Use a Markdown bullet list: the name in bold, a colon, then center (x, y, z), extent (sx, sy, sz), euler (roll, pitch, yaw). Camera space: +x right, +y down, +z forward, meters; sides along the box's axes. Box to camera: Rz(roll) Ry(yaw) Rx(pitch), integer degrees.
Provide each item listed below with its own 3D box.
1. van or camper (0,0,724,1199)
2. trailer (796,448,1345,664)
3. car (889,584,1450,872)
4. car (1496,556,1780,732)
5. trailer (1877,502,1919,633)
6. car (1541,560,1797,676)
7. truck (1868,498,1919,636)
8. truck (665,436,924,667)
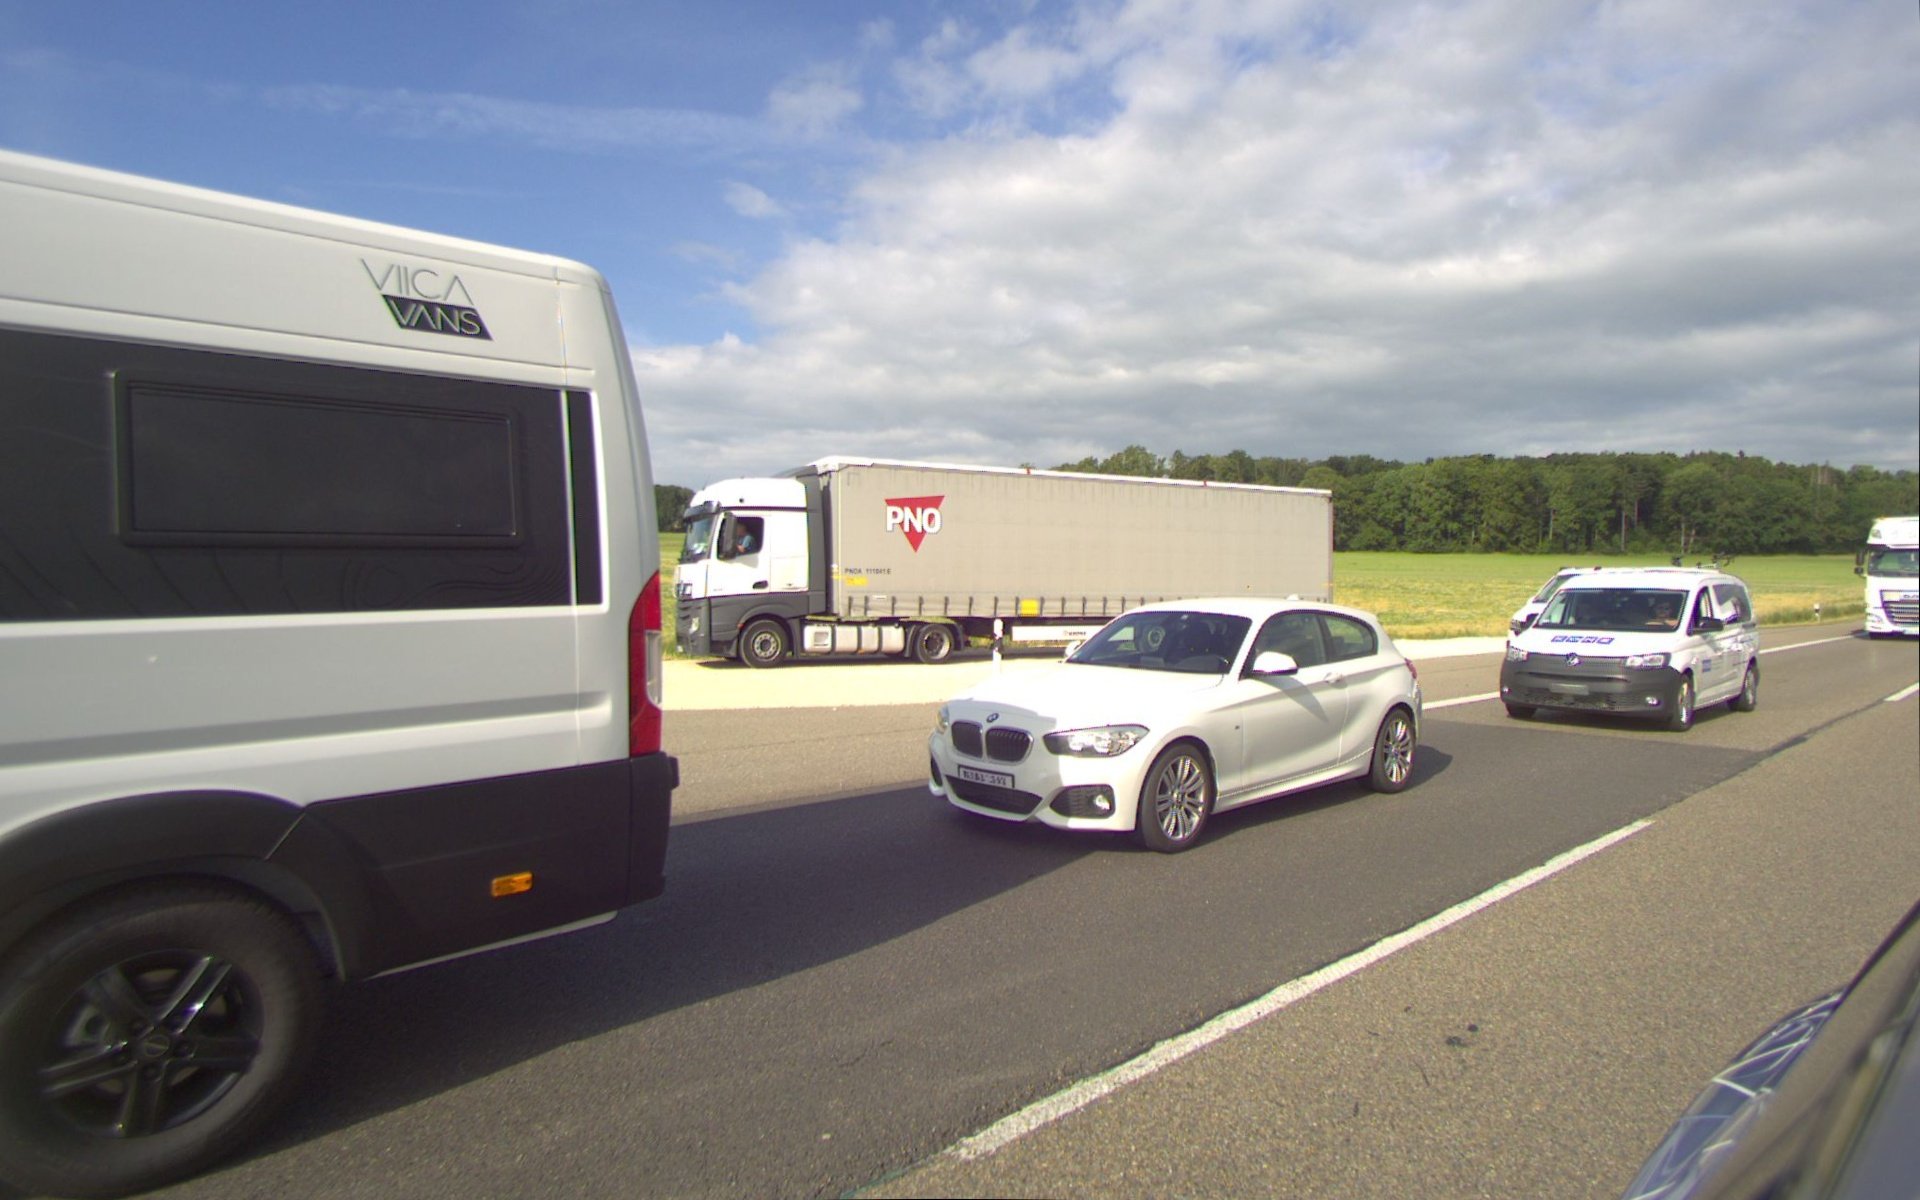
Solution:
- **van or camper**: center (-3.825, -0.008, 2.071), extent (6.222, 2.714, 2.219), euler (0, 1, -41)
- **trailer**: center (3.079, -0.868, 23.955), extent (13.543, 4.213, 2.748), euler (0, 0, -26)
- **car**: center (1.669, 0.624, 7.107), extent (4.158, 1.450, 1.706), euler (0, 0, -41)
- **car**: center (8.442, 0.435, 12.429), extent (4.620, 1.779, 1.727), euler (0, 0, -41)
- **trailer**: center (36.318, -1.174, 36.910), extent (13.777, 4.212, 2.739), euler (-1, 1, -41)
- **car**: center (13.394, 0.281, 19.054), extent (5.160, 1.949, 1.803), euler (0, 0, -28)
- **truck**: center (31.761, -1.070, 32.872), extent (5.667, 4.226, 2.733), euler (-1, 1, -41)
- **truck**: center (-3.422, -0.903, 20.785), extent (4.662, 4.226, 2.727), euler (0, 0, -26)
